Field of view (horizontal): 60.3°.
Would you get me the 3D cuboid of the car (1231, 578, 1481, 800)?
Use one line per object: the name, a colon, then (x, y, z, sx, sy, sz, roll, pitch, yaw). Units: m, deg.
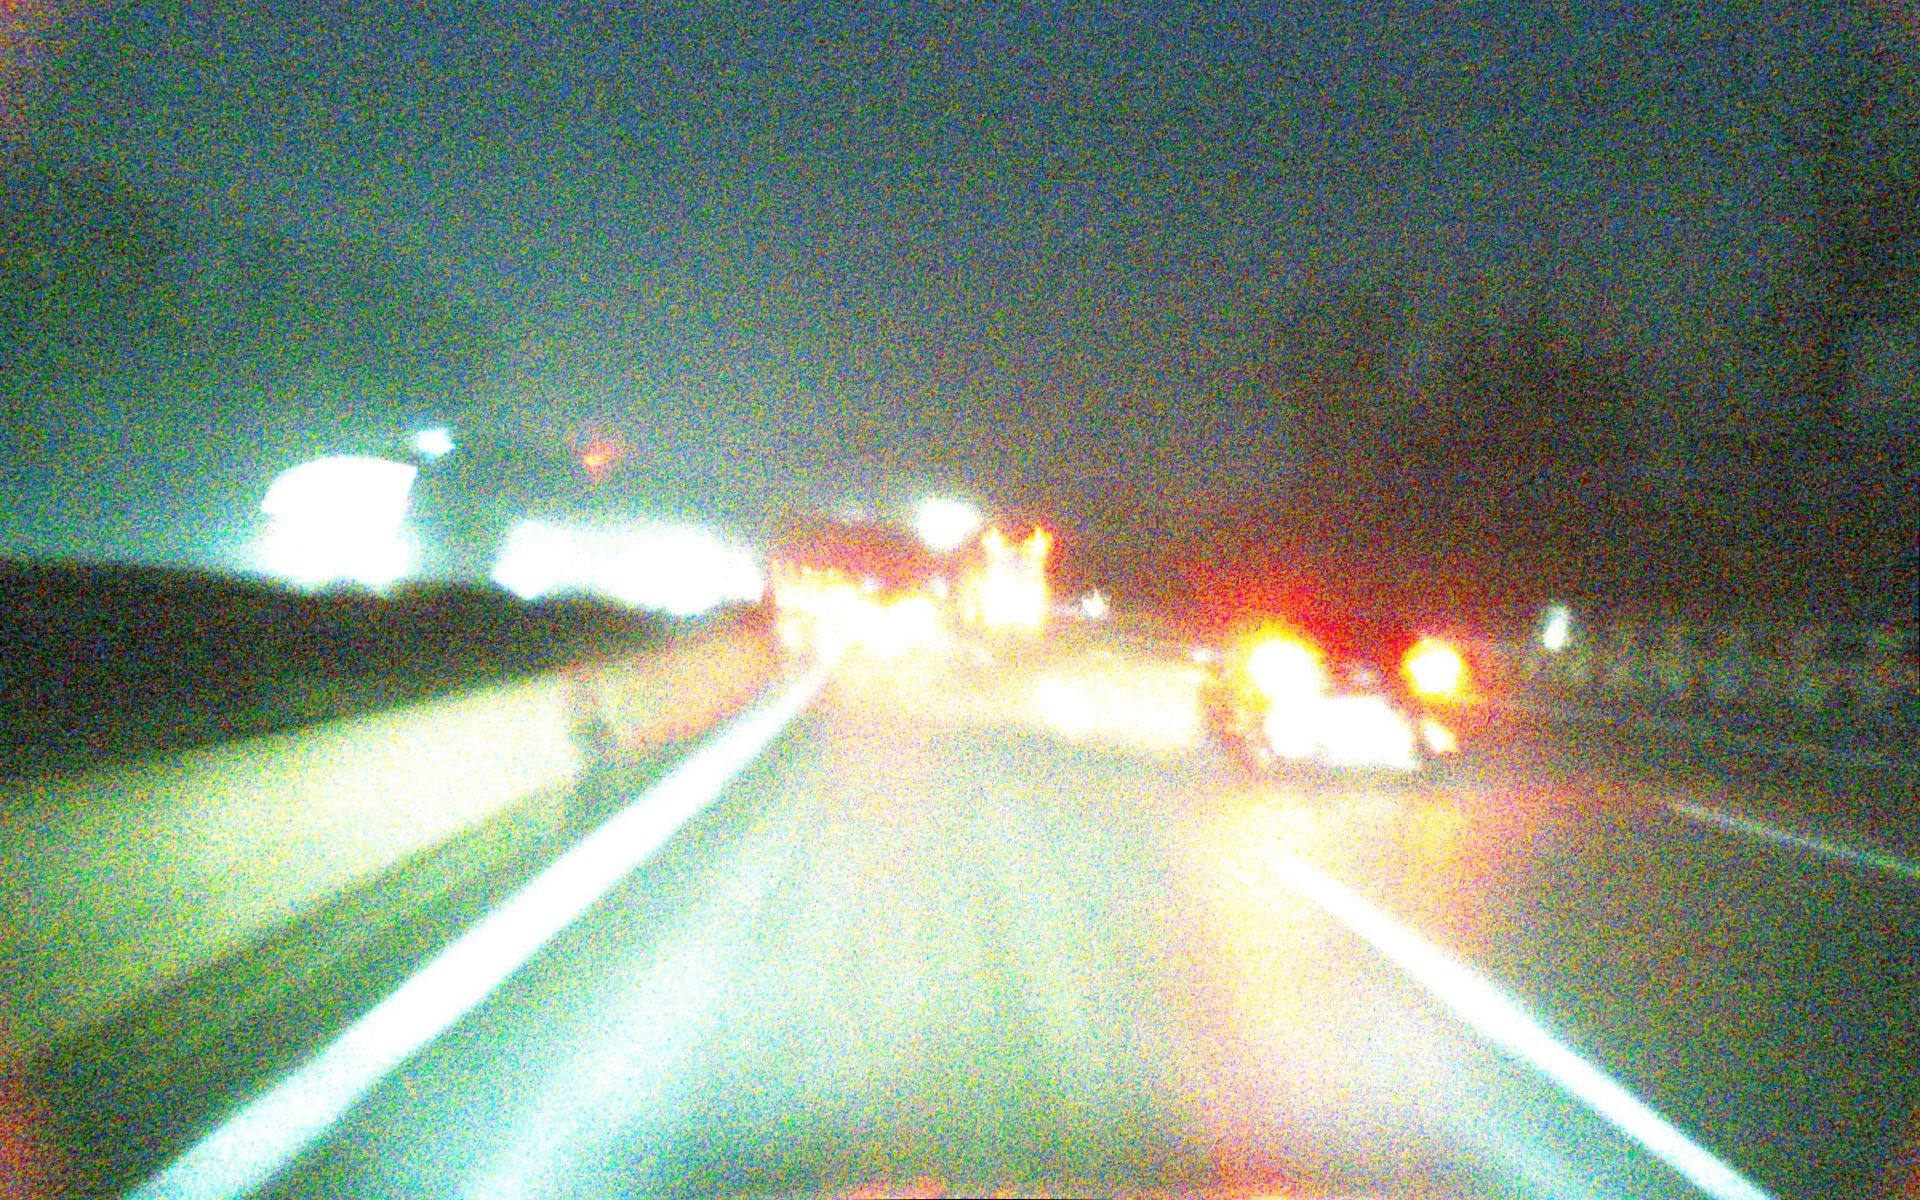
car: (3.382, 0.655, 14.830, 1.762, 1.645, 4.260, 1, 1, 8)

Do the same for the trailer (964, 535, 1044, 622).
trailer: (2.268, -1.317, 90.366, 2.686, 4.321, 13.358, -1, 2, -6)

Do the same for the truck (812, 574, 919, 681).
truck: (-2.171, 0.556, 39.939, 2.102, 2.113, 6.603, 5, 1, -1)

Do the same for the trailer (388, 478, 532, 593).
trailer: (-18.843, -2.420, 63.043, 2.871, 3.812, 9.495, 5, 1, -4)

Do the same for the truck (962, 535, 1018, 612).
truck: (1.710, -1.579, 96.642, 2.657, 4.315, 5.288, 1, 1, -5)

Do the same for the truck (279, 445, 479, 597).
truck: (-18.260, -2.423, 52.939, 2.890, 4.105, 10.647, 5, 1, -3)

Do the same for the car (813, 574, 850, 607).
car: (-8.250, -0.566, 106.129, 1.957, 2.049, 3.990, 0, -1, -10)
